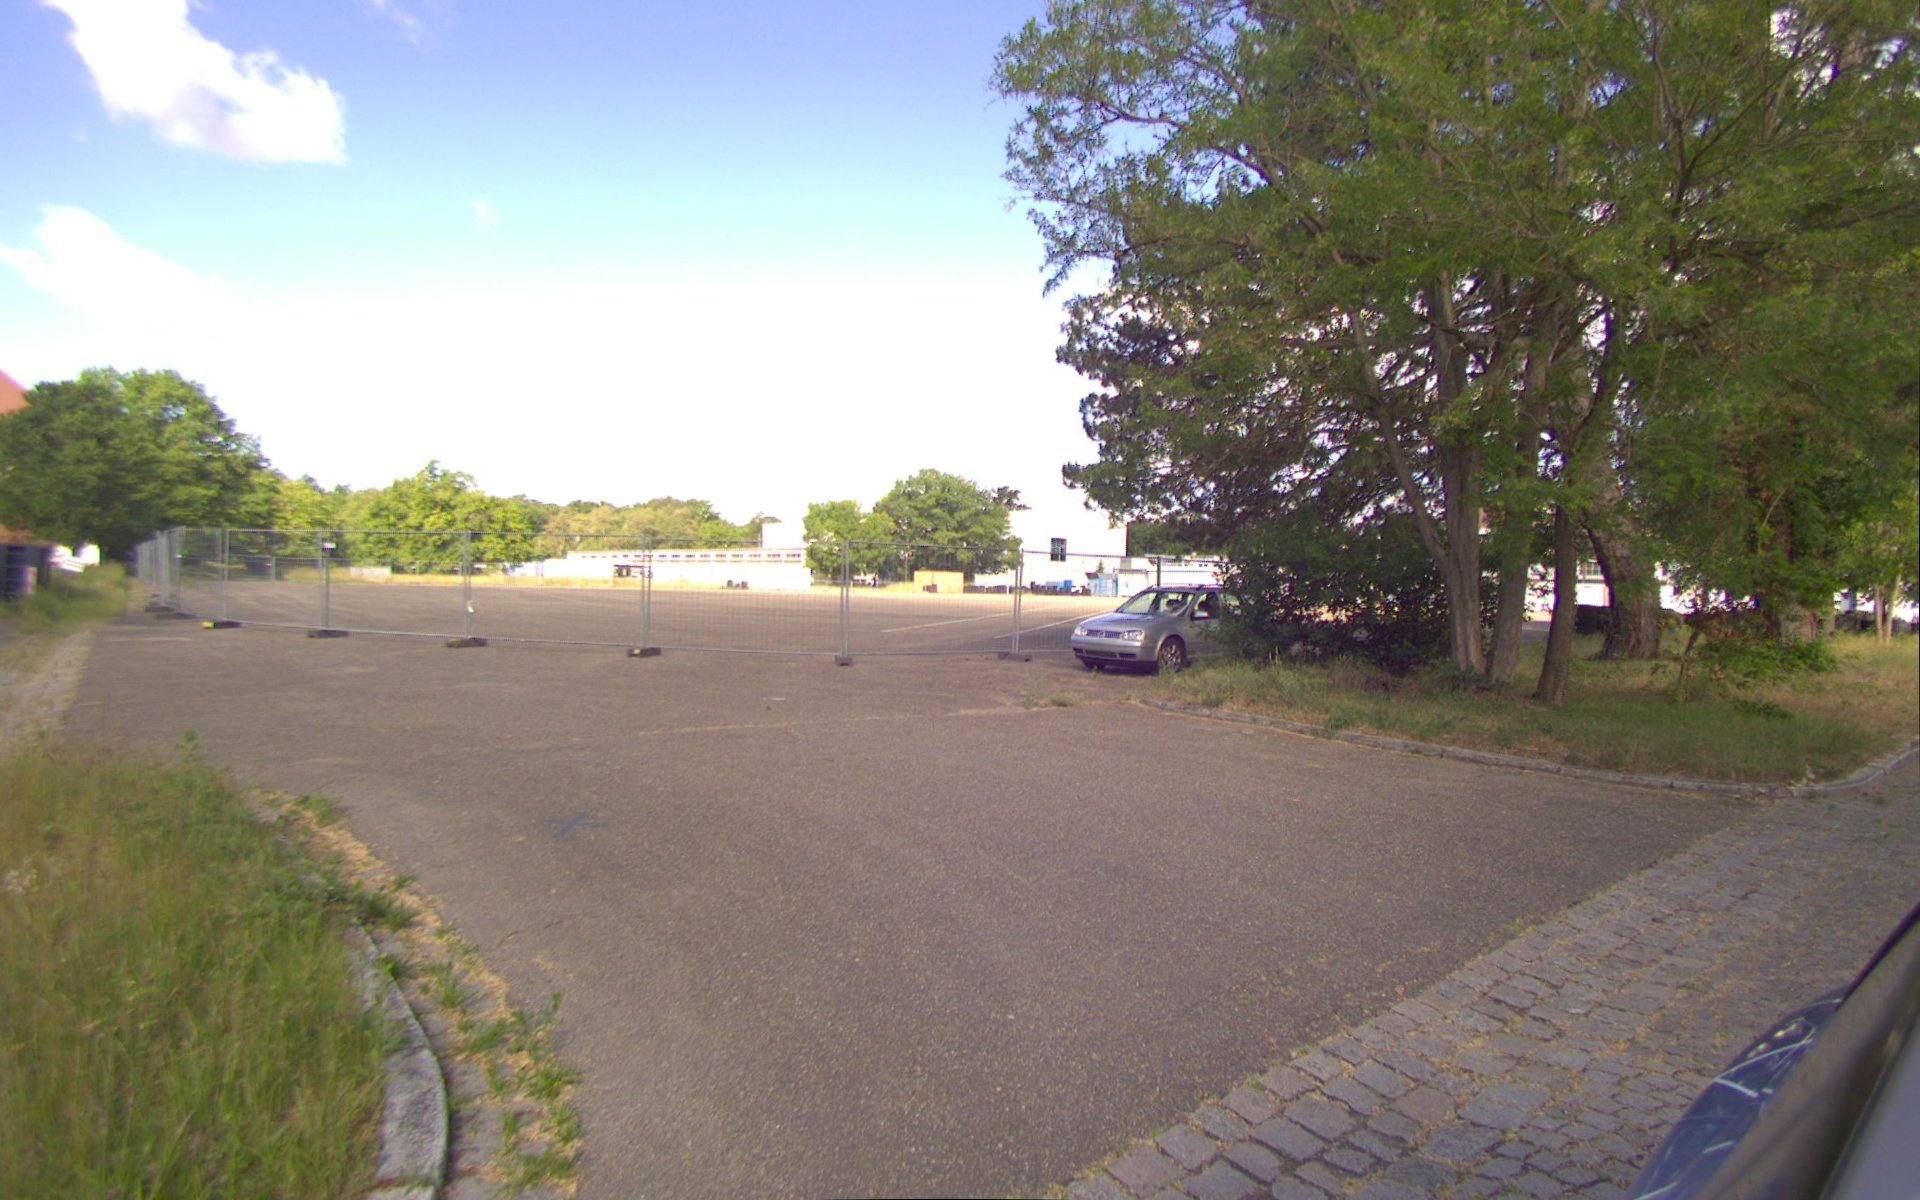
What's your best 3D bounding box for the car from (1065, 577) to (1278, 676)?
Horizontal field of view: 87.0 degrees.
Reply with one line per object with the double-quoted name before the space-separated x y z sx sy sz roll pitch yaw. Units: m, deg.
"car" 3.676 0.389 17.200 3.920 1.462 1.576 0 2 -43
